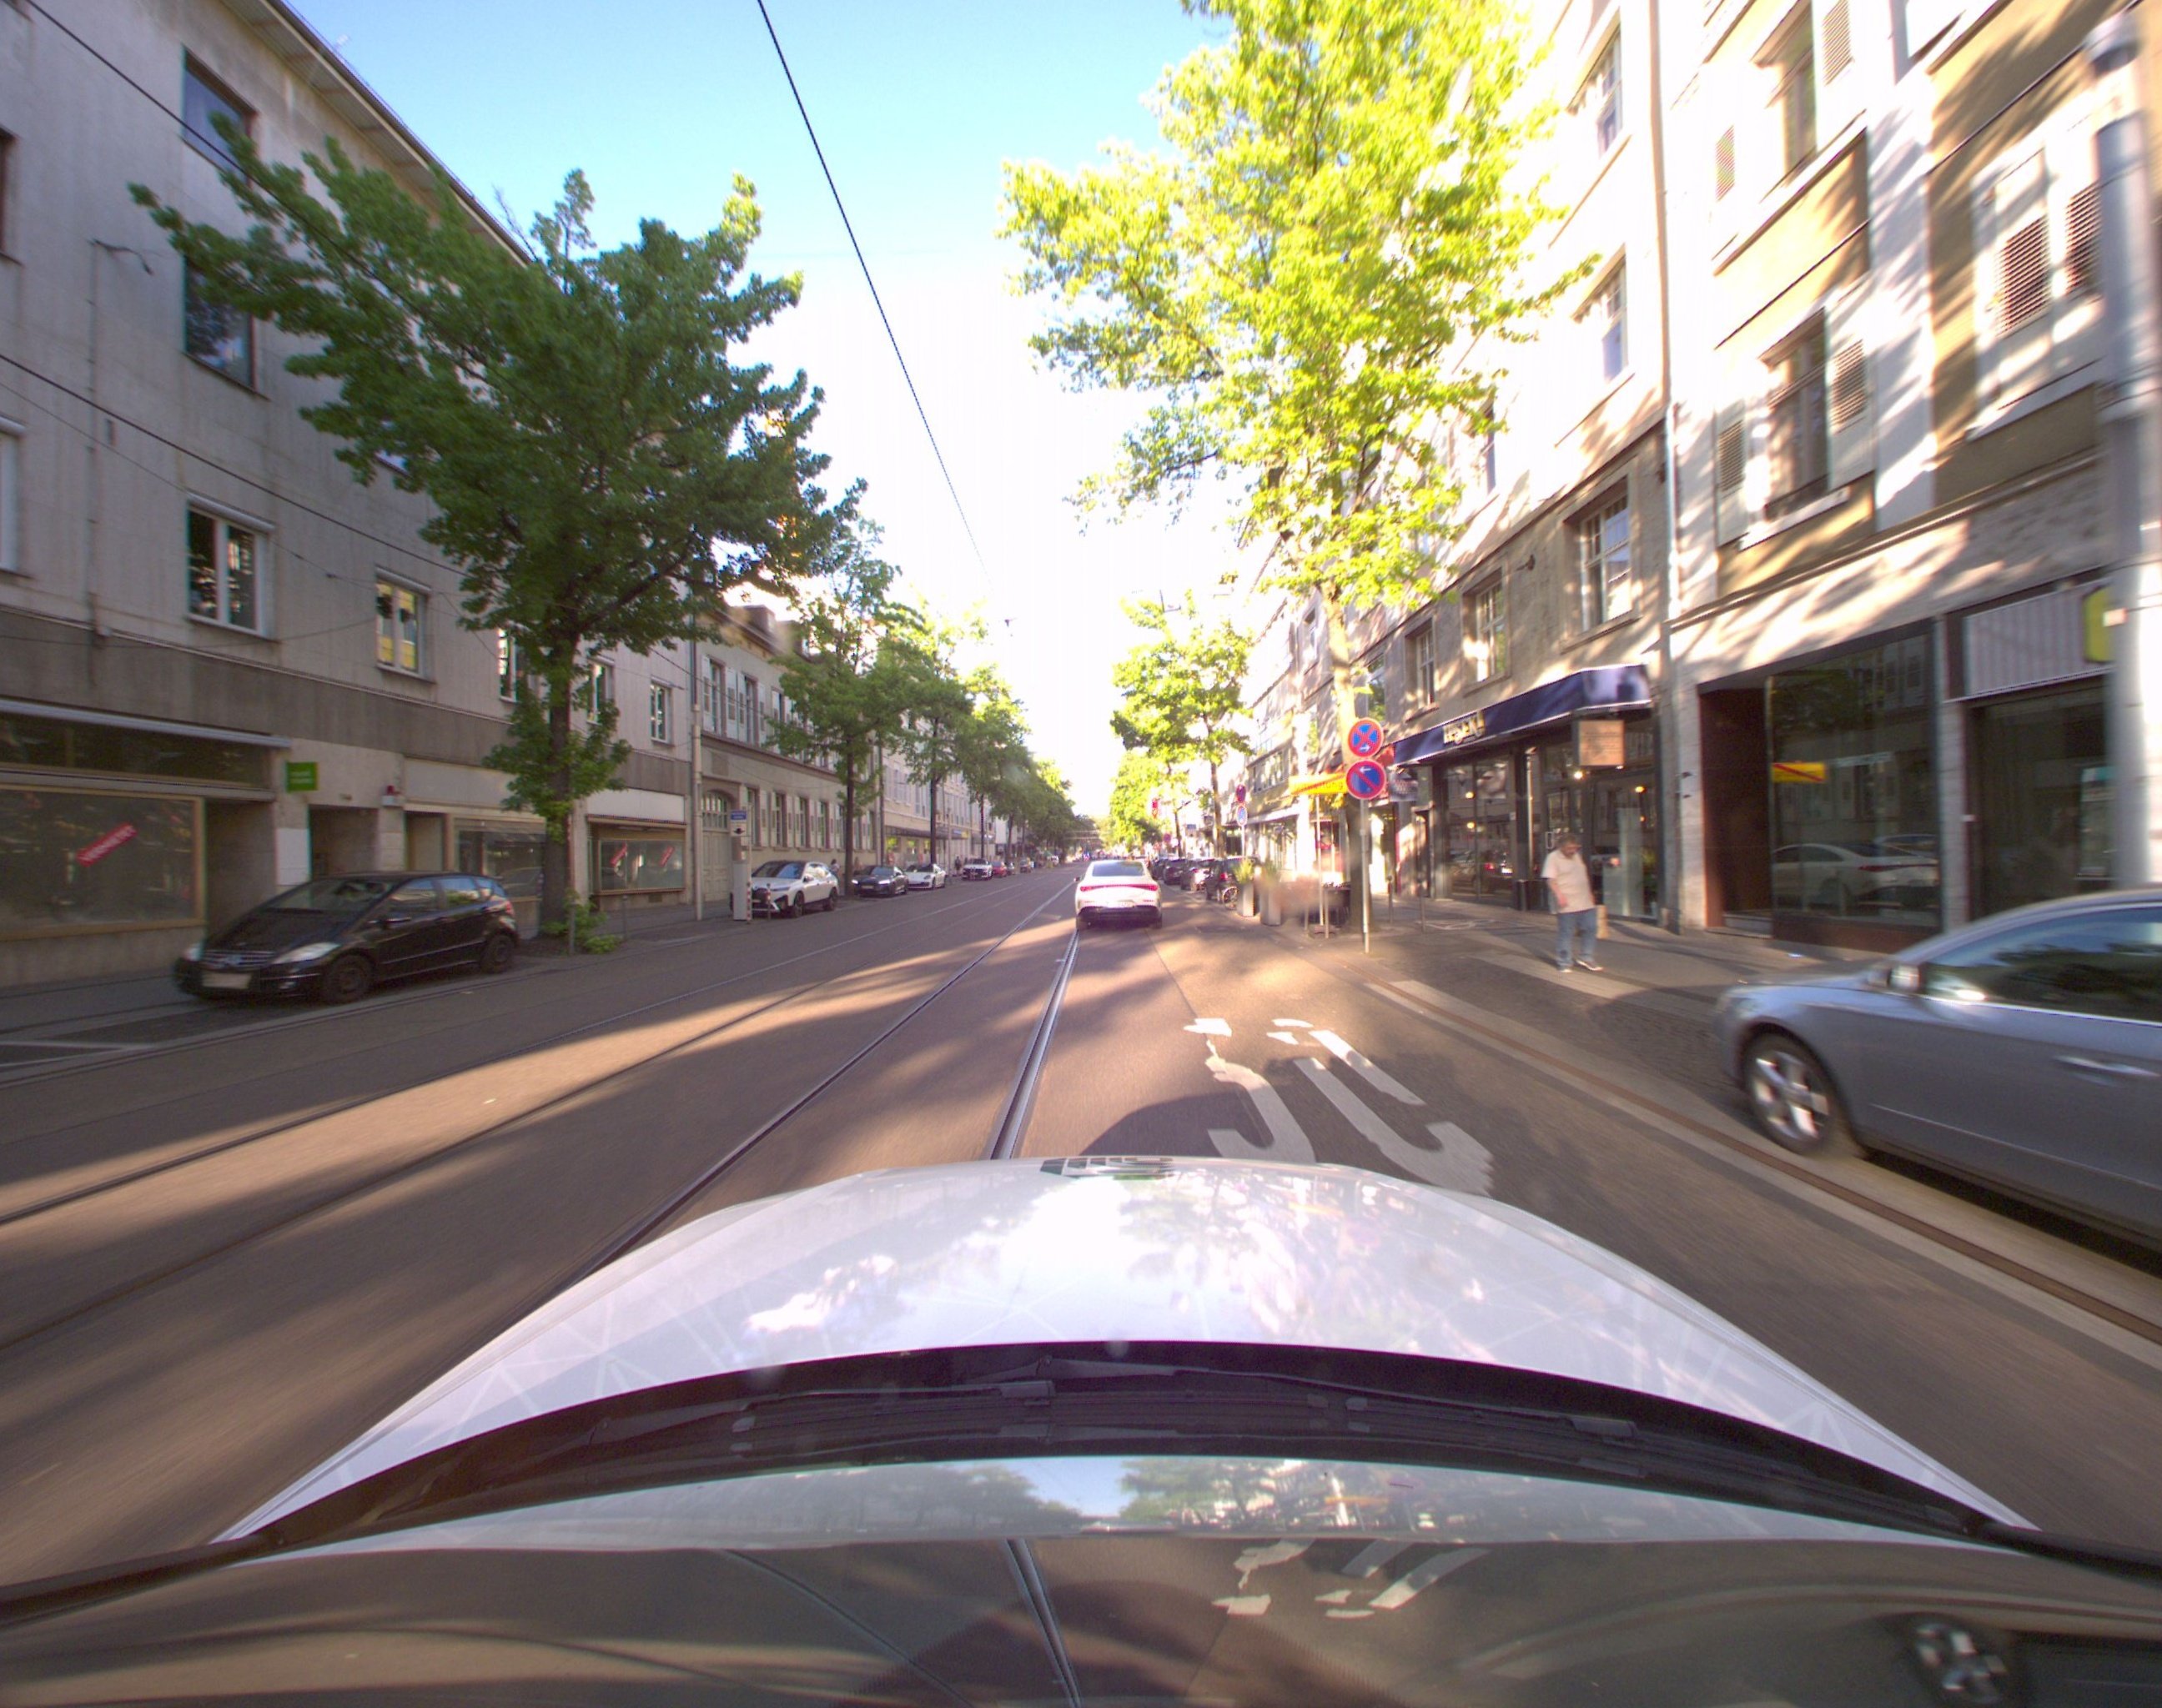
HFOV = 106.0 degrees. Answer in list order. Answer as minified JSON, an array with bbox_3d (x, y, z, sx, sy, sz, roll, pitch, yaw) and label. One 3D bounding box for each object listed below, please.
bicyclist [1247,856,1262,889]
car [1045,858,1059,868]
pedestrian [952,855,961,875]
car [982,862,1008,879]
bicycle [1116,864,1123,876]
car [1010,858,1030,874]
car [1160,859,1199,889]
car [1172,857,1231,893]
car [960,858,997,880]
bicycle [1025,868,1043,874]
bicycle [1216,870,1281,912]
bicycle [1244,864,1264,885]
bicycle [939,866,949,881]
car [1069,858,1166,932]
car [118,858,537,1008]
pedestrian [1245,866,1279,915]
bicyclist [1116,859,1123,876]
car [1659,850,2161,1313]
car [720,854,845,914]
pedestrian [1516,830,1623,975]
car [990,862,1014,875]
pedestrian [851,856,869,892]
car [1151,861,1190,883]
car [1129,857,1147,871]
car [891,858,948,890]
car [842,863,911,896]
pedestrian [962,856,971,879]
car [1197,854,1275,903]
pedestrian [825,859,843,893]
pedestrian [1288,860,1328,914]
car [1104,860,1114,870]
[{"bbox_3d":[8.987,0.939,42.208,0.637,1.684,0.599,-1,-1,0],"label":"bicyclist"},{"bbox_3d":[-5.574,1.741,157.914,1.981,2.014,4.011,0,-1,10],"label":"car"},{"bbox_3d":[-10.894,0.963,71.320,0.706,1.806,0.674,0,-1,-4],"label":"pedestrian"},{"bbox_3d":[-7.731,1.488,73.454,1.682,1.499,4.236,0,-1,3],"label":"car"},{"bbox_3d":[4.134,1.709,86.856,0.737,1.188,2.161,0,-1,3],"label":"bicycle"},{"bbox_3d":[-7.102,1.413,95.463,1.543,1.796,3.176,0,-1,10],"label":"car"},{"bbox_3d":[5.305,1.052,44.306,1.863,1.453,4.109,-2,-1,3],"label":"car"},{"bbox_3d":[5.339,0.920,36.542,1.810,1.486,3.994,1,-1,-4],"label":"car"},{"bbox_3d":[-7.955,1.170,63.537,1.954,1.692,5.016,0,-1,3],"label":"car"},{"bbox_3d":[-6.028,2.158,104.687,2.233,0.830,0.720,0,-1,23],"label":"bicycle"},{"bbox_3d":[4.777,1.057,23.230,1.711,1.139,0.549,-2,-2,22],"label":"bicycle"},{"bbox_3d":[8.980,1.036,42.258,0.645,1.074,1.861,-1,-1,0],"label":"bicycle"},{"bbox_3d":[-9.676,1.385,57.531,0.592,1.050,2.005,0,-1,-5],"label":"bicycle"},{"bbox_3d":[0.694,0.876,18.335,1.863,1.469,4.038,0,-2,-2],"label":"car"},{"bbox_3d":[-10.095,0.950,11.460,1.954,1.640,4.002,3,-1,3],"label":"car"},{"bbox_3d":[4.735,0.946,21.335,0.813,1.265,0.587,0,-1,6],"label":"pedestrian"},{"bbox_3d":[4.134,1.437,86.825,0.722,1.703,0.811,0,-1,2],"label":"bicyclist"},{"bbox_3d":[4.339,0.719,2.692,1.769,1.440,4.424,-3,-1,2],"label":"car"},{"bbox_3d":[-9.337,0.908,25.962,1.954,1.640,4.814,3,-1,2],"label":"car"},{"bbox_3d":[5.810,0.560,9.720,0.800,1.643,0.756,-1,-1,1],"label":"pedestrian"},{"bbox_3d":[-7.902,1.467,81.853,1.986,1.292,4.001,0,-1,1],"label":"car"},{"bbox_3d":[-10.965,0.991,40.394,0.683,1.721,0.656,1,-1,2],"label":"pedestrian"},{"bbox_3d":[5.976,1.173,54.778,1.834,1.436,3.993,0,-1,-5],"label":"car"},{"bbox_3d":[6.875,1.215,98.936,1.986,1.728,4.242,0,-1,2],"label":"car"},{"bbox_3d":[-8.872,1.072,45.241,1.938,1.640,4.912,1,-1,3],"label":"car"},{"bbox_3d":[-9.256,1.130,37.288,1.956,1.413,4.843,0,-1,-1],"label":"car"},{"bbox_3d":[-10.026,1.138,71.339,0.706,2.004,0.674,0,-1,-4],"label":"pedestrian"},{"bbox_3d":[5.120,0.806,27.328,1.795,1.458,3.653,-3,-1,-1],"label":"car"},{"bbox_3d":[-12.289,1.113,40.575,0.672,1.680,0.648,0,-1,1],"label":"pedestrian"},{"bbox_3d":[5.954,0.860,21.379,0.713,1.387,0.739,1,-1,-36],"label":"pedestrian"},{"bbox_3d":[7.041,2.792,204.276,1.989,2.541,3.995,0,-1,-3],"label":"car"}]
